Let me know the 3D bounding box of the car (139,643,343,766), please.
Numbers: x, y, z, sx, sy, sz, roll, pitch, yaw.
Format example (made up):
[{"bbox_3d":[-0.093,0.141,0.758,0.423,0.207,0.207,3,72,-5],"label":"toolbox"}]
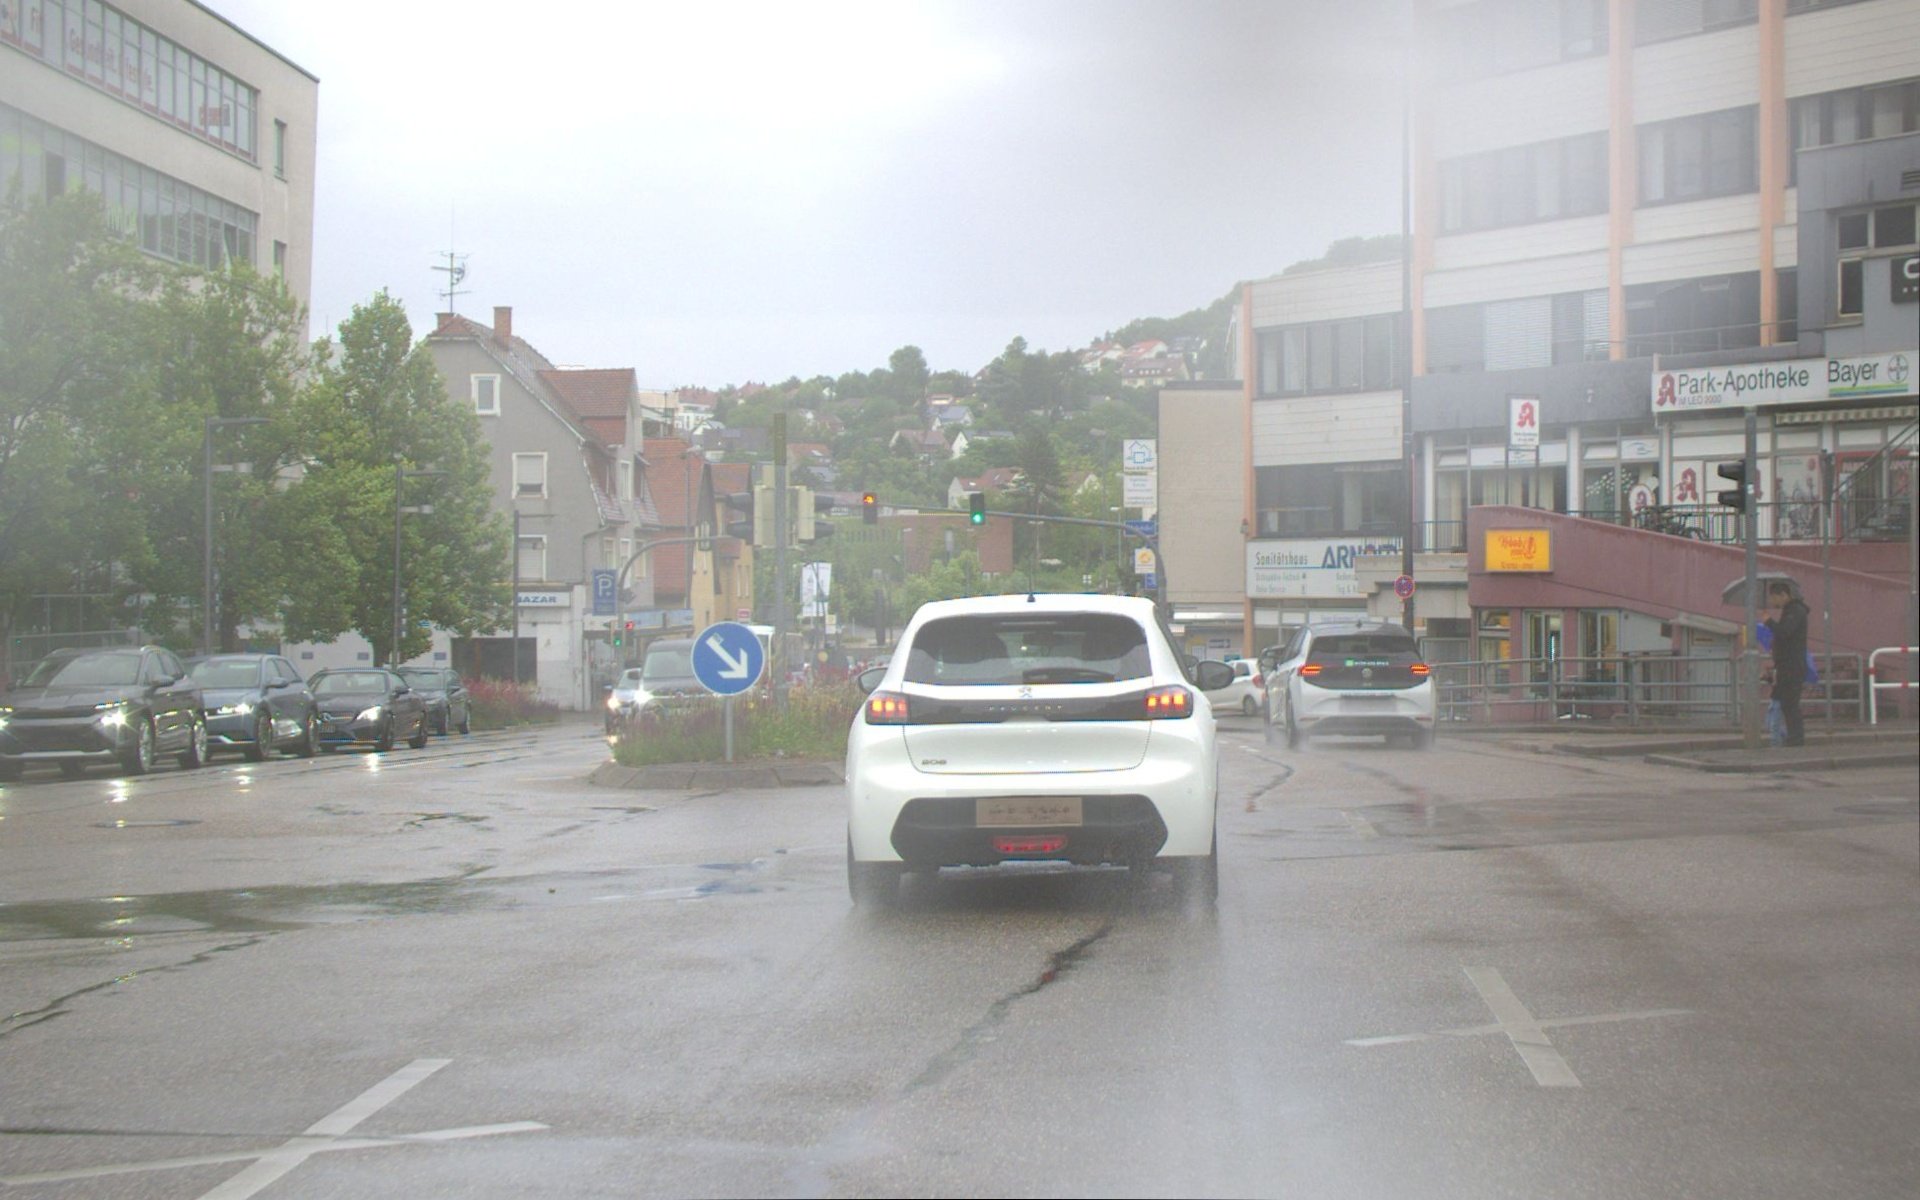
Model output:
[{"bbox_3d":[-10.609,1.512,51.048,1.774,1.588,4.587,-4,-1,3],"label":"car"}]

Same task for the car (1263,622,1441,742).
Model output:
[{"bbox_3d":[4.778,0.975,42.329,1.912,1.395,3.457,0,0,2],"label":"car"}]

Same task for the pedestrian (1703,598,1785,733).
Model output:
[{"bbox_3d":[7.949,0.661,34.872,0.708,1.341,0.655,-1,-1,5],"label":"pedestrian"}]

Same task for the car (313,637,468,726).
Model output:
[{"bbox_3d":[-9.479,1.332,57.523,1.726,1.383,4.600,-1,-1,1],"label":"car"}]

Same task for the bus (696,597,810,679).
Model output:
[{"bbox_3d":[-7.377,1.325,123.847,2.939,2.774,9.503,-1,0,3],"label":"bus"}]

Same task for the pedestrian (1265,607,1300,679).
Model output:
[{"bbox_3d":[8.187,1.083,87.321,0.640,1.816,0.583,-1,-1,-30],"label":"pedestrian"}]

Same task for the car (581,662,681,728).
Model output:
[{"bbox_3d":[-7.414,2.129,77.750,1.726,1.383,4.455,-1,-1,1],"label":"car"}]

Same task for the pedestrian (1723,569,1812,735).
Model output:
[{"bbox_3d":[8.013,0.516,34.129,0.708,1.602,0.655,-2,-1,6],"label":"pedestrian"}]

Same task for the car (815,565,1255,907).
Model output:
[{"bbox_3d":[0.486,0.585,16.972,1.872,1.457,3.872,1,0,5],"label":"car"}]

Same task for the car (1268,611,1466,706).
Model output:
[{"bbox_3d":[9.892,1.398,83.909,1.994,2.219,4.975,-1,0,-34],"label":"car"}]

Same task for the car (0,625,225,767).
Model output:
[{"bbox_3d":[-10.838,1.181,43.365,1.876,1.588,4.523,-4,-1,3],"label":"car"}]

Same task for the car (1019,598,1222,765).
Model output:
[{"bbox_3d":[1.706,0.794,35.401,1.816,1.524,3.811,-2,0,6],"label":"car"}]

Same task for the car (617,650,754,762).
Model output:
[{"bbox_3d":[-4.835,1.898,61.084,1.993,1.817,4.298,-3,-2,0],"label":"car"}]
